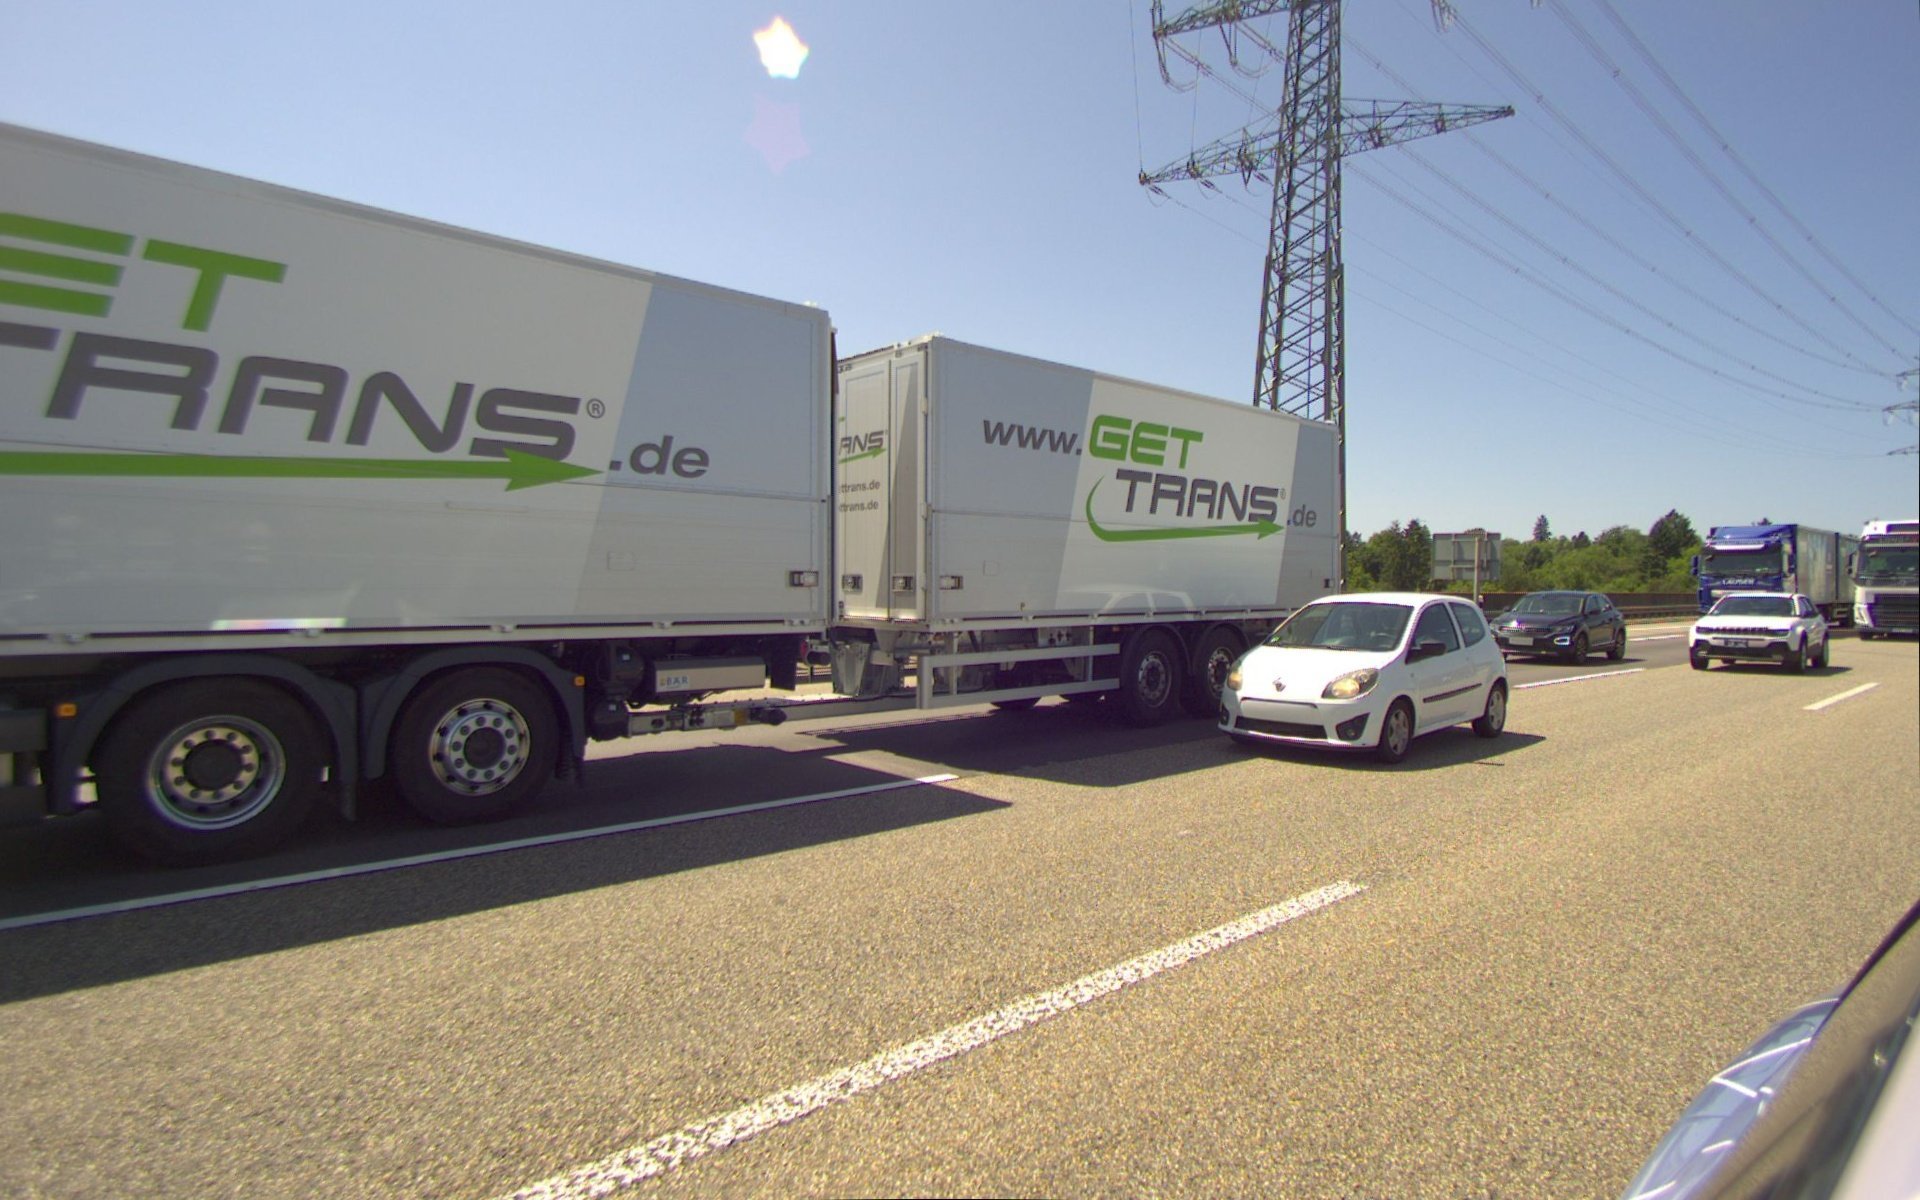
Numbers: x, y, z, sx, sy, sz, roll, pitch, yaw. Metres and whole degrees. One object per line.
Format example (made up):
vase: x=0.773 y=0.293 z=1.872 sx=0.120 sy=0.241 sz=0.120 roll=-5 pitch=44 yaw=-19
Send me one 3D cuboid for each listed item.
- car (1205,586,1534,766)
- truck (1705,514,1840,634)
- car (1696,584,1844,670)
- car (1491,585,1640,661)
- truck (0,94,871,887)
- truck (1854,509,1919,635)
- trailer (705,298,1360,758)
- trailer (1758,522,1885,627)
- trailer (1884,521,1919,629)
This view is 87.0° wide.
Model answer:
car: x=4.138 y=0.603 z=10.001 sx=3.566 sy=1.458 sz=1.582 roll=0 pitch=1 yaw=-41
truck: x=30.147 y=-0.905 z=37.426 sx=7.788 sy=4.018 sz=2.515 roll=0 pitch=0 yaw=-41
car: x=16.246 y=0.478 z=20.252 sx=3.688 sy=1.554 sz=1.720 roll=0 pitch=1 yaw=-42
car: x=13.331 y=0.442 z=22.205 sx=3.821 sy=1.524 sz=1.708 roll=0 pitch=1 yaw=-41
truck: x=-5.591 y=-0.507 z=5.511 sx=10.583 sy=3.648 sz=2.855 roll=-1 pitch=1 yaw=-42
truck: x=32.443 y=-0.935 z=33.919 sx=6.624 sy=3.941 sz=2.911 roll=-1 pitch=1 yaw=-41
trailer: x=1.396 y=-0.594 z=11.828 sx=8.150 sy=3.640 sz=2.848 roll=0 pitch=0 yaw=-42
trailer: x=37.154 y=-1.052 z=43.473 sx=10.695 sy=4.044 sz=2.541 roll=-1 pitch=1 yaw=-41
trailer: x=38.559 y=-0.974 z=39.294 sx=9.605 sy=3.917 sz=2.895 roll=-1 pitch=1 yaw=-41
